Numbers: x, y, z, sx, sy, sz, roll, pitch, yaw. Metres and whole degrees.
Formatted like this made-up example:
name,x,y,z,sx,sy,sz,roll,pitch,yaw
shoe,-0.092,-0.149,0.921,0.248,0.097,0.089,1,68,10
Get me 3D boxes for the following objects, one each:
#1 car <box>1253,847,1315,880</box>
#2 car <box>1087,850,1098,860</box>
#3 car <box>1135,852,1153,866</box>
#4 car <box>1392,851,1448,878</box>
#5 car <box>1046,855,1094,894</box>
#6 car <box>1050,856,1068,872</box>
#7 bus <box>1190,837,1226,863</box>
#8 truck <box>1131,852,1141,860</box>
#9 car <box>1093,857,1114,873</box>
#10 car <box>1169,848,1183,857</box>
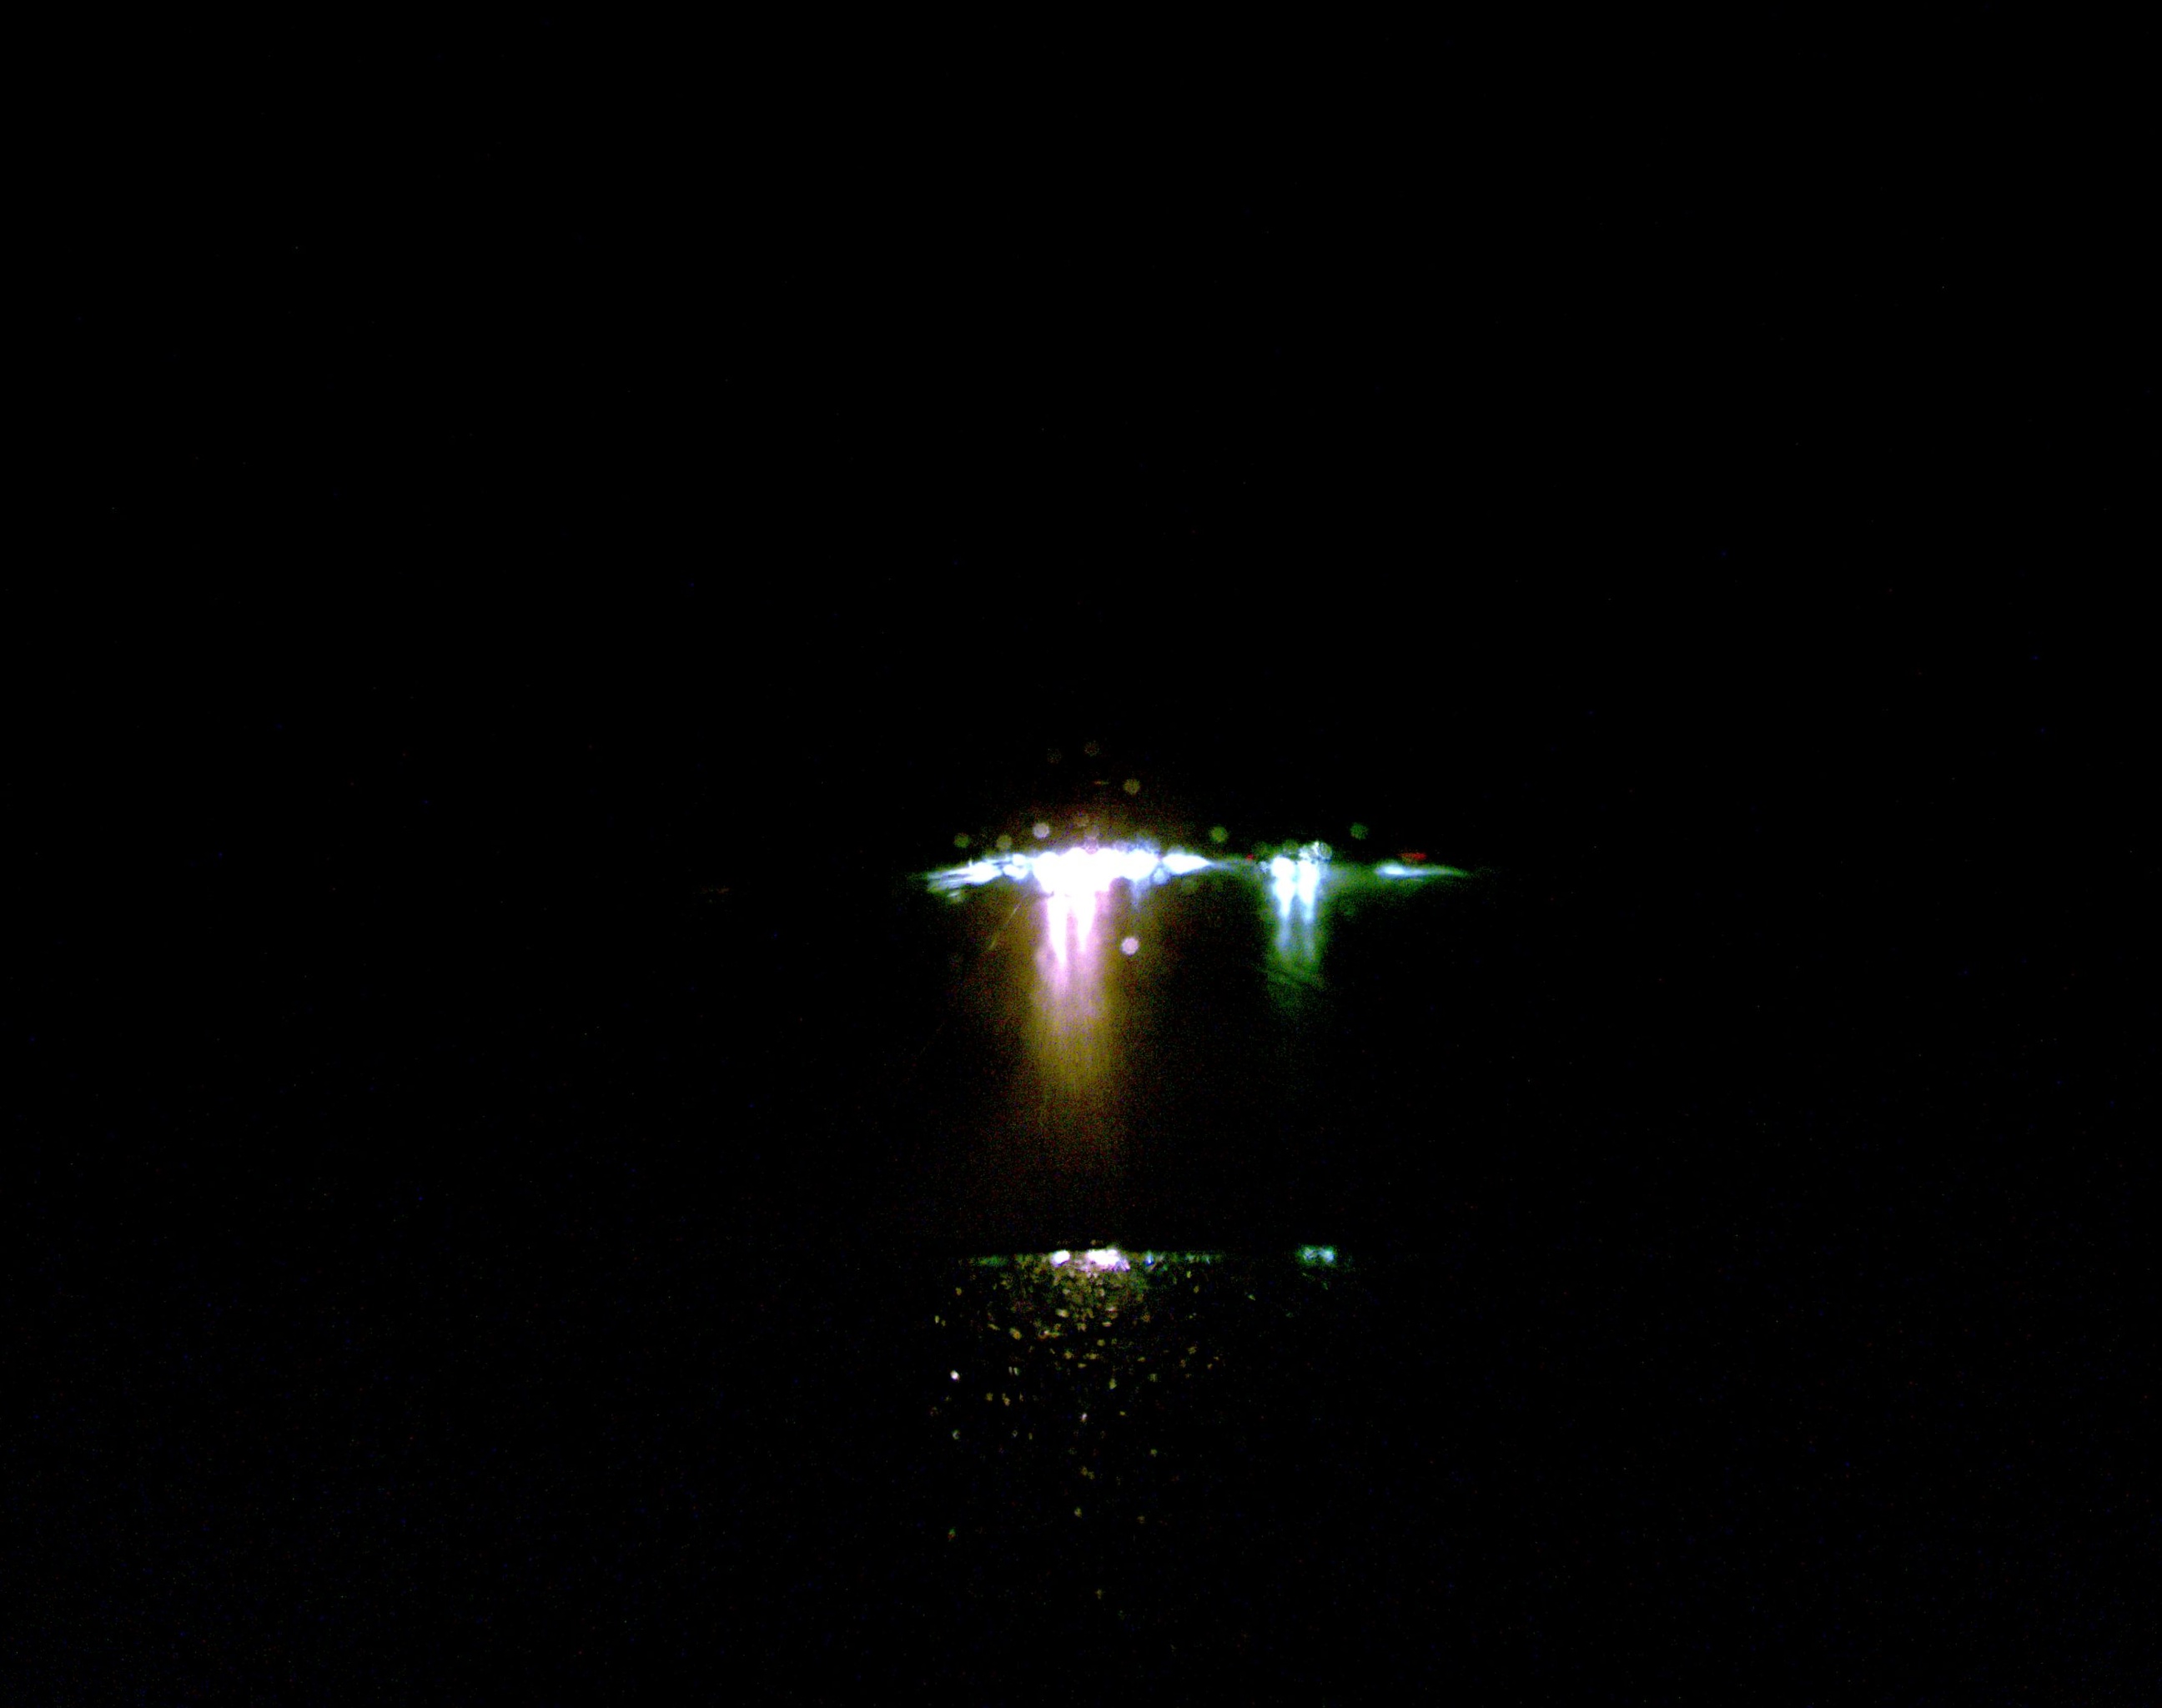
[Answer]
name,x,y,z,sx,sy,sz,roll,pitch,yaw
car,10.815,0.461,40.839,1.999,1.551,4.587,-3,0,-1
car,2.352,0.175,152.108,1.999,1.797,3.999,-3,1,-1
car,8.746,0.677,105.071,1.999,1.797,3.999,-3,1,-1
car,23.914,0.708,53.767,1.909,1.797,3.998,-3,1,-5
car,-0.536,0.949,34.817,1.999,1.542,4.001,-3,-2,-2
car,-2.347,1.035,80.868,1.813,1.477,3.581,-3,1,-3
bus,23.749,-0.750,142.835,3.083,4.464,17.007,-3,0,-2
truck,17.028,0.486,235.701,1.999,2.333,6.437,-3,0,-3
car,2.469,1.159,83.664,1.999,1.551,4.587,-3,0,-1
car,18.672,-0.341,149.685,1.885,1.548,4.459,-3,0,-3
